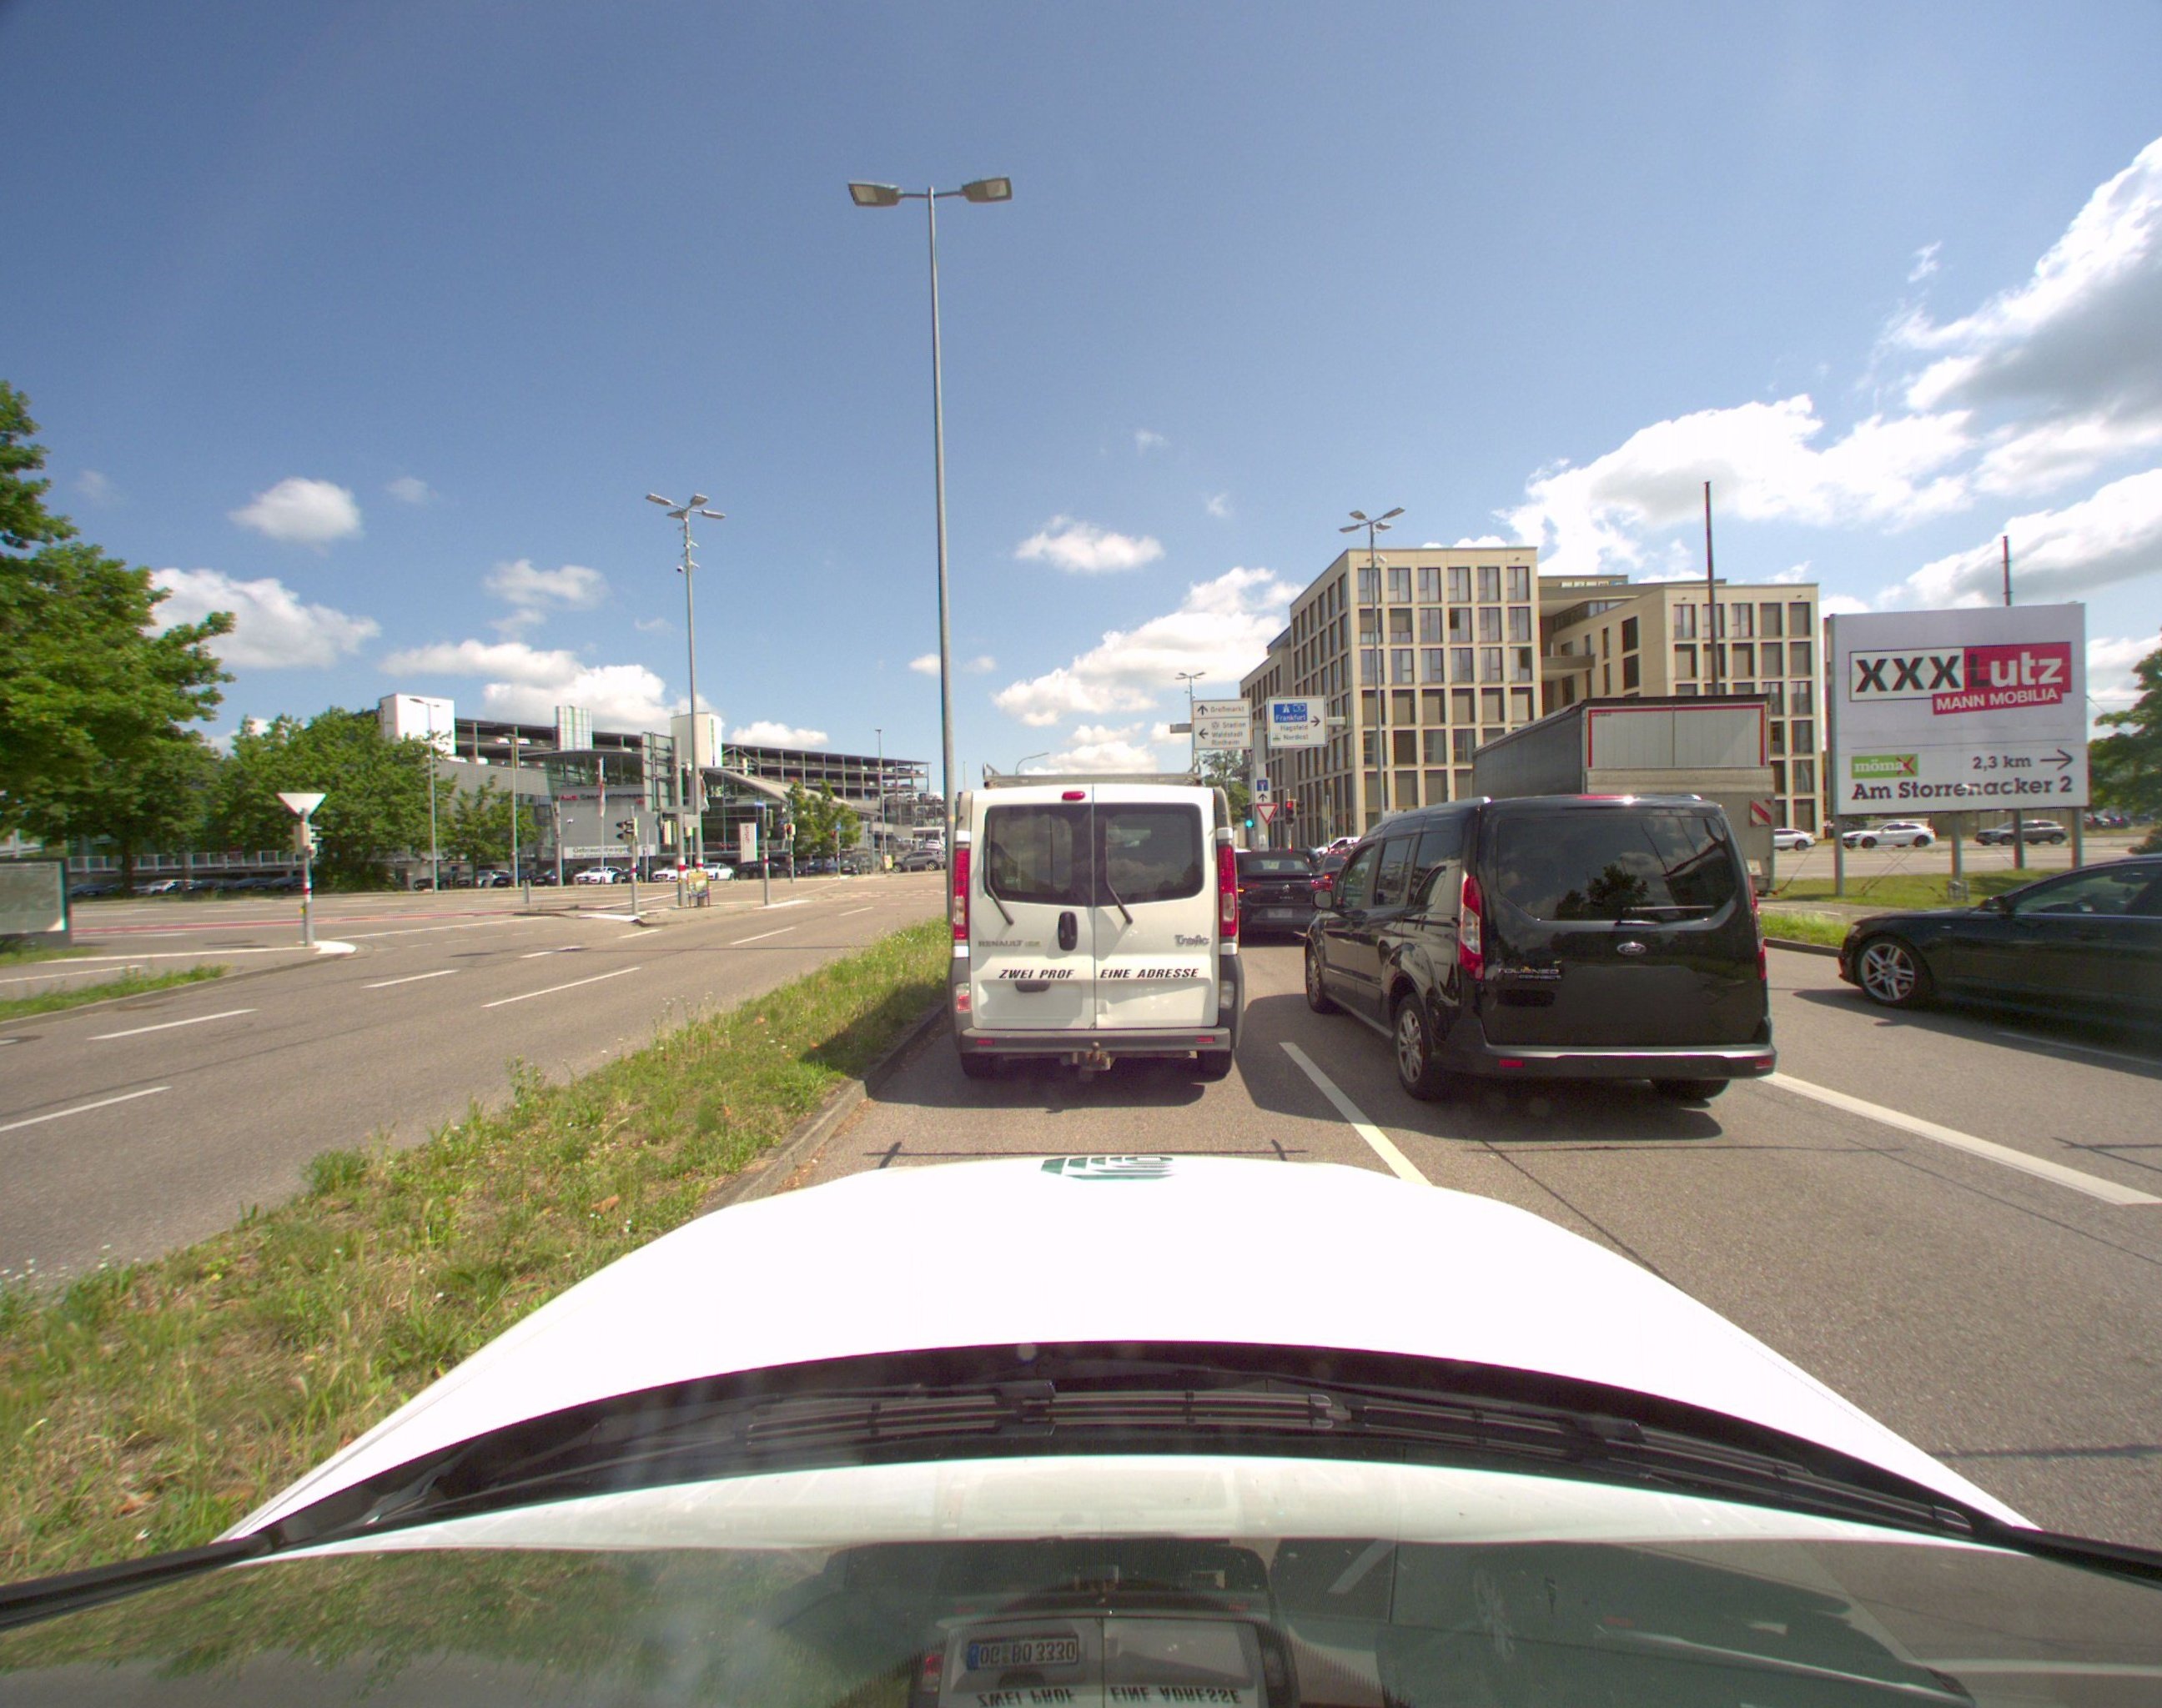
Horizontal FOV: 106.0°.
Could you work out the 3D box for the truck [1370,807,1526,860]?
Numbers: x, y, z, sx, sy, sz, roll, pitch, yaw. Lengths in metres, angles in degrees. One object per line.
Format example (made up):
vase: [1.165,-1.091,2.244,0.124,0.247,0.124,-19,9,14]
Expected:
truck: [25.156,-1.393,55.964,9.737,3.555,2.670,0,-1,-6]

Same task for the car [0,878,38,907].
car: [-77.846,2.766,57.774,1.896,2.049,4.585,0,-1,-3]

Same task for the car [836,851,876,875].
car: [-16.643,0.648,60.532,1.896,1.678,4.585,0,-1,-3]

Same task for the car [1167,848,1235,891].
car: [4.240,0.531,29.401,1.849,1.442,3.999,0,0,0]

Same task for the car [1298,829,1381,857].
car: [17.562,-0.741,55.428,4.969,1.838,1.996,0,-1,-6]

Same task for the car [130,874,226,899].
car: [-64.870,2.316,58.646,1.896,1.678,4.585,0,-1,-3]

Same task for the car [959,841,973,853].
car: [-15.407,-0.983,109.596,1.557,1.552,3.598,0,-1,-3]

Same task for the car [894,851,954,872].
car: [-13.064,0.648,67.949,4.562,1.678,1.906,0,-1,-2]

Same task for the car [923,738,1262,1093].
car: [0.138,0.358,7.078,1.965,2.060,4.566,-1,0,2]

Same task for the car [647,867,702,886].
car: [-29.829,1.649,59.858,1.896,1.297,4.585,0,0,-3]

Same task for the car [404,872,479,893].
car: [-46.194,2.057,58.956,1.896,1.405,4.585,0,-2,-3]

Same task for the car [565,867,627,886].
car: [-35.356,1.620,59.482,1.896,1.297,4.585,0,0,-3]

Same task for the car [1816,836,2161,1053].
car: [8.238,0.601,5.886,1.767,1.478,4.682,-1,0,2]

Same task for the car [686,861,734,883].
car: [-27.256,1.344,59.930,1.786,1.464,3.995,-2,-3,-3]

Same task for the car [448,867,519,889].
car: [-43.153,1.771,58.955,1.896,1.405,4.584,0,-3,-3]

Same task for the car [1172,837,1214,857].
car: [11.760,-0.705,85.655,3.982,2.014,1.996,0,-1,-7]

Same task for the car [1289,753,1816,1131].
car: [2.908,0.452,6.162,1.816,1.905,4.003,-1,0,3]

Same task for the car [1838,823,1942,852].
car: [54.061,-1.098,54.515,4.667,1.838,1.834,-1,-1,12]

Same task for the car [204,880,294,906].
car: [-60.018,2.801,58.848,1.896,1.678,4.585,0,-1,-3]

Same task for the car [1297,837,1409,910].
car: [6.786,0.593,20.777,1.849,1.656,4.225,0,-4,7]

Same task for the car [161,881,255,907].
car: [-62.213,2.815,58.169,1.896,1.678,4.585,0,-1,-3]

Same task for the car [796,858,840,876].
car: [-19.455,0.939,60.474,1.896,1.297,4.585,0,0,-3]

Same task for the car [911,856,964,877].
car: [-13.396,1.157,76.056,4.562,1.677,1.906,-3,2,-2]

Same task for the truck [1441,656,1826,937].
truck: [10.016,-0.783,16.426,3.191,4.027,9.100,-1,-1,12]

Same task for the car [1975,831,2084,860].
car: [61.683,-0.534,53.020,4.401,1.838,1.834,-1,-1,12]

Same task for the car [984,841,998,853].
car: [-12.067,-0.984,109.066,1.557,1.552,3.598,-1,0,-3]

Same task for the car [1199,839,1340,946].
car: [3.209,0.592,14.605,1.766,1.629,4.003,-1,0,3]

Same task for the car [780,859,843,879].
car: [-23.208,1.292,70.240,4.731,1.511,1.982,-2,-3,-4]

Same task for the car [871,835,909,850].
car: [-24.483,-1.496,104.395,4.432,1.801,1.762,0,-1,-4]

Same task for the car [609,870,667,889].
car: [-32.396,1.846,59.666,1.896,1.297,4.585,0,0,-3]

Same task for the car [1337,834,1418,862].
car: [17.727,-0.373,48.740,4.192,1.627,1.824,0,-1,-6]

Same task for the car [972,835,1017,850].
car: [-12.345,-1.594,116.509,6.373,2.102,1.763,0,-1,-4]

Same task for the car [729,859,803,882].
car: [-23.439,1.217,60.711,4.731,1.464,1.793,-2,-3,-4]

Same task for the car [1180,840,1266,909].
car: [3.658,0.482,21.569,1.766,1.629,4.003,-1,0,3]

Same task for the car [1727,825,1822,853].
car: [47.351,-0.988,55.677,4.683,1.838,1.832,0,-1,8]

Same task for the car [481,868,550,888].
car: [-40.732,1.754,58.848,1.896,1.384,4.584,0,-2,-3]

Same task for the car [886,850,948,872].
car: [-13.117,0.571,65.202,4.562,1.678,1.906,0,-1,-2]
